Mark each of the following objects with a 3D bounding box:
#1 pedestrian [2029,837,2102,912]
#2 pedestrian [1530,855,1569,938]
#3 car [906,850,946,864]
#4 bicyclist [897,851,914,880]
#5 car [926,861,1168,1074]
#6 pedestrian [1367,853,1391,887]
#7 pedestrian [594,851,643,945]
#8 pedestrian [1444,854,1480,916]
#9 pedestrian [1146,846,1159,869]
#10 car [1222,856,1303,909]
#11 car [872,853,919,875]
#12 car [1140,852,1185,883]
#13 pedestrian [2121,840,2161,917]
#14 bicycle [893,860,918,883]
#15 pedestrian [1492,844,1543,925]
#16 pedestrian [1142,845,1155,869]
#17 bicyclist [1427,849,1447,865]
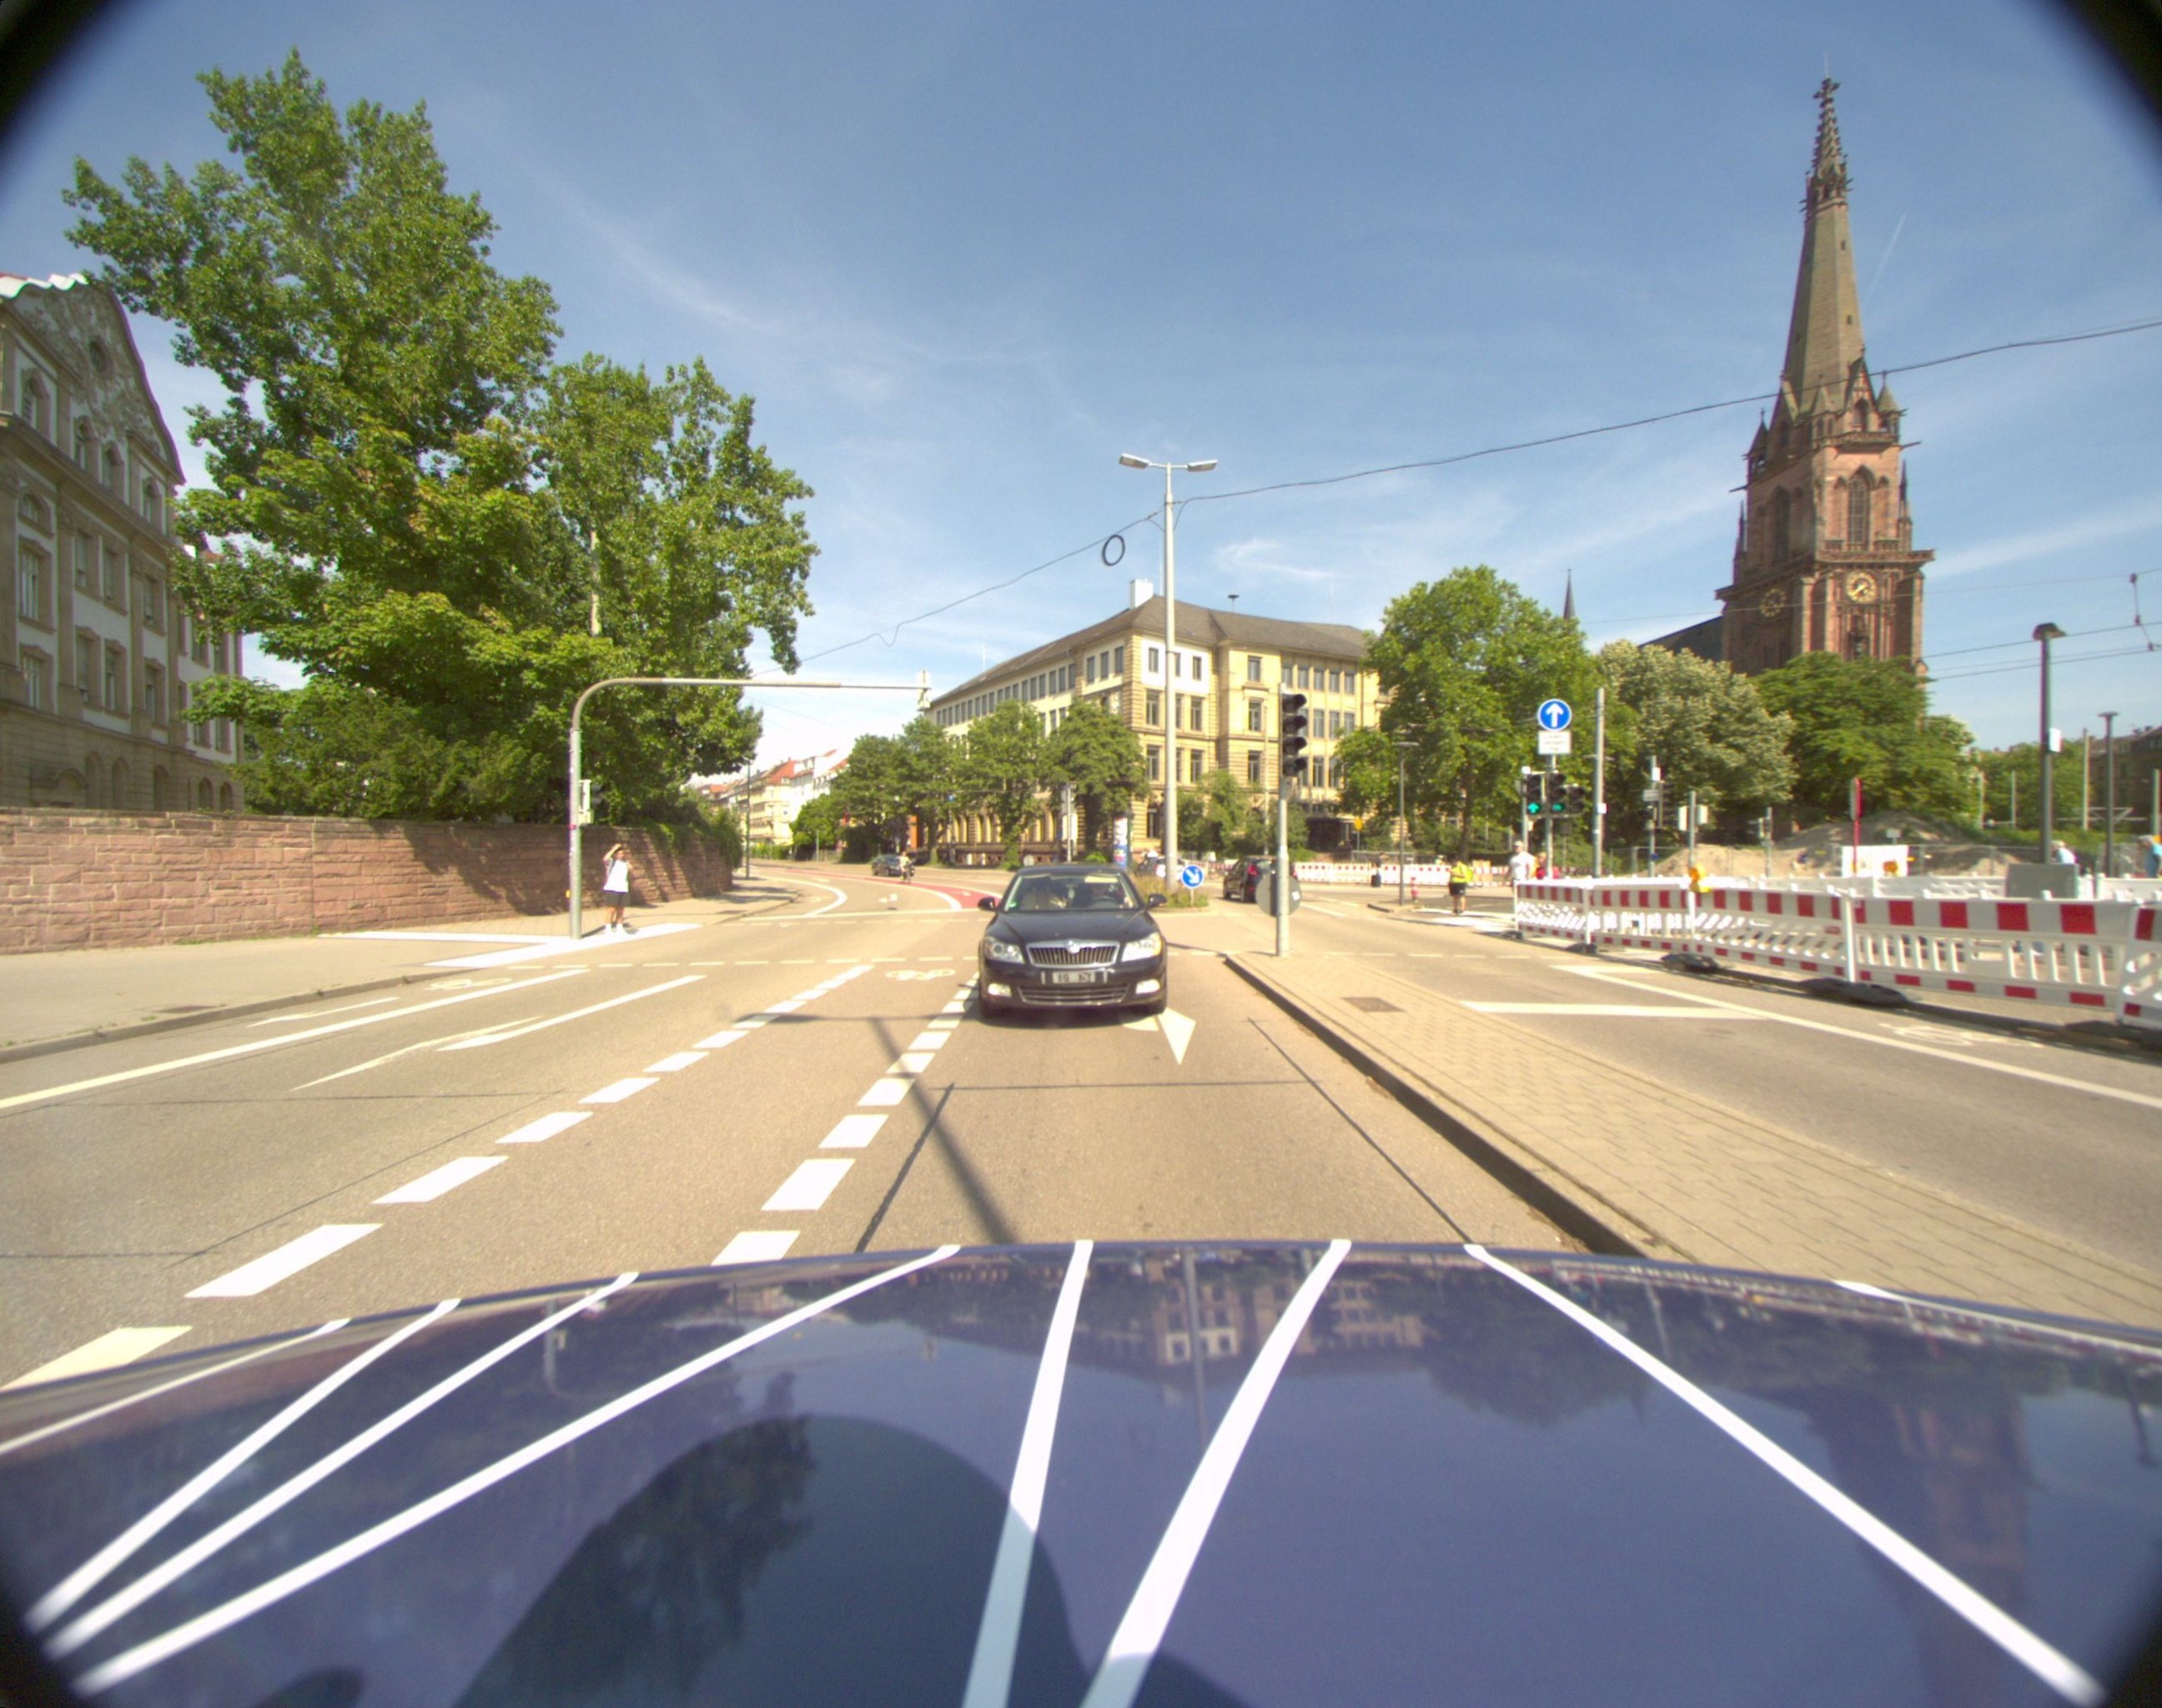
[{"bbox_3d":[21.816,0.446,16.854,0.792,1.606,0.663,0,0,30],"label":"pedestrian"},{"bbox_3d":[9.323,0.825,15.143,0.350,1.606,0.686,0,1,2],"label":"pedestrian"},{"bbox_3d":[-17.347,0.325,85.041,4.008,1.455,1.994,0,0,-36],"label":"car"},{"bbox_3d":[-9.526,0.631,41.212,0.589,1.539,0.929,-3,2,-31],"label":"bicyclist"},{"bbox_3d":[-0.168,0.894,8.257,1.863,1.510,4.827,0,1,2],"label":"car"},{"bbox_3d":[14.835,0.783,37.851,0.939,1.646,0.845,0,1,9],"label":"pedestrian"},{"bbox_3d":[-9.438,0.873,15.525,0.654,1.863,0.795,2,0,-18],"label":"pedestrian"},{"bbox_3d":[9.727,0.784,19.419,0.667,1.534,0.423,-3,1,11],"label":"pedestrian"},{"bbox_3d":[5.399,0.279,57.256,0.743,1.739,0.586,1,1,33],"label":"pedestrian"},{"bbox_3d":[5.597,0.829,23.858,1.670,1.442,3.818,1,0,1],"label":"car"},{"bbox_3d":[-12.410,0.634,50.651,1.806,1.368,4.266,-2,1,-32],"label":"car"},{"bbox_3d":[3.961,0.621,37.477,1.798,1.403,4.000,1,0,1],"label":"car"},{"bbox_3d":[22.770,0.514,16.184,0.584,1.606,0.691,0,0,39],"label":"pedestrian"},{"bbox_3d":[-9.531,0.937,41.199,0.687,1.215,2.181,0,1,-32],"label":"bicycle"},{"bbox_3d":[10.059,0.682,17.507,0.651,1.802,0.839,-1,0,-38],"label":"pedestrian"},{"bbox_3d":[5.040,0.213,56.716,0.743,1.739,0.586,1,1,32],"label":"pedestrian"},{"bbox_3d":[21.169,0.159,45.169,0.684,0.922,0.867,-1,1,-39],"label":"bicyclist"}]
